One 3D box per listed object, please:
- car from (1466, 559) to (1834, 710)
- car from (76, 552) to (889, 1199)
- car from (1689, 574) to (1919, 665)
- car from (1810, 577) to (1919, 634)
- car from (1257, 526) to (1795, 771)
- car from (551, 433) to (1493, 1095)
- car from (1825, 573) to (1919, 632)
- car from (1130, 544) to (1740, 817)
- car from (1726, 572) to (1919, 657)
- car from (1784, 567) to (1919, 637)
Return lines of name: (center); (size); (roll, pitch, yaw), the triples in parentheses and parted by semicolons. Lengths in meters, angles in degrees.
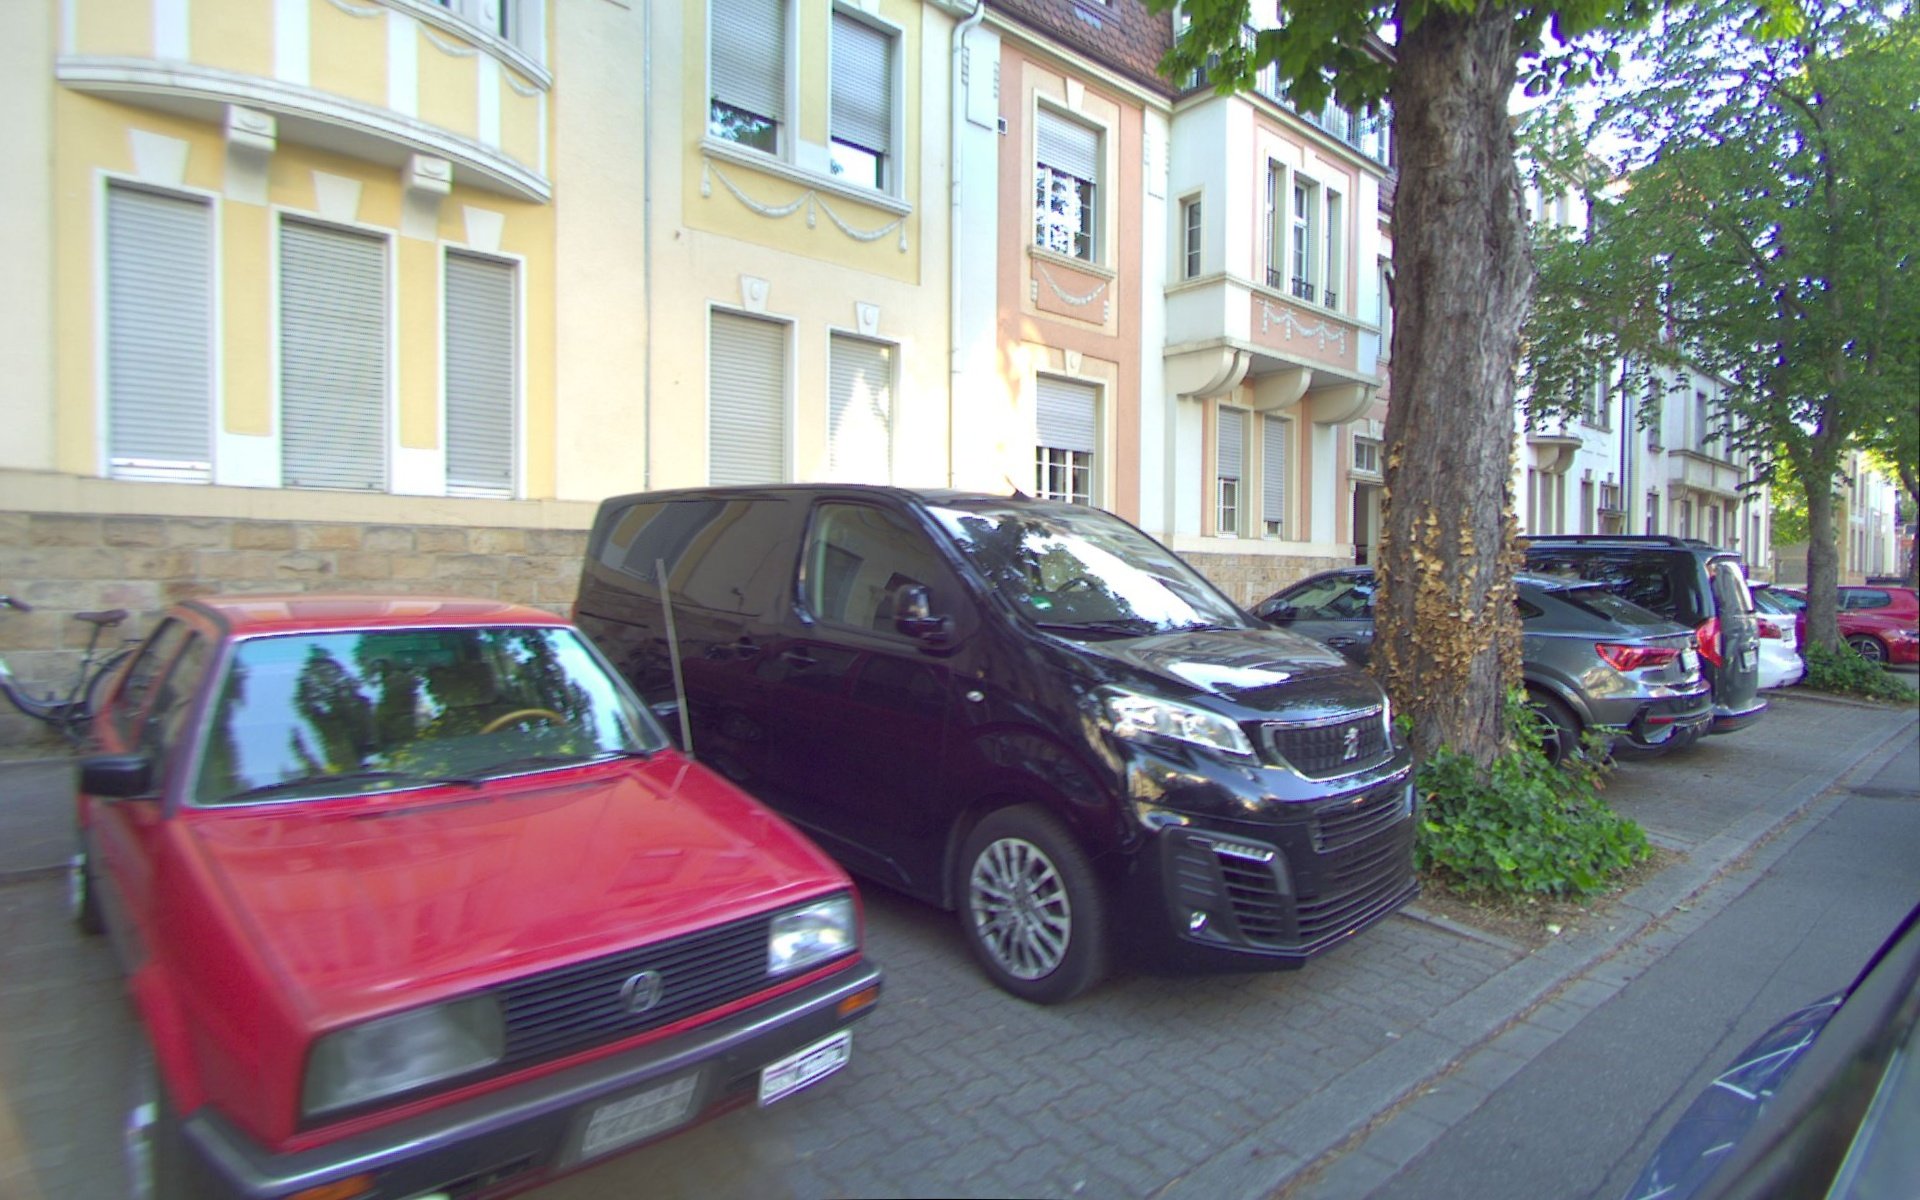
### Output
car: (8.639, 0.312, 12.883); (1.513, 1.569, 3.617); (-1, 4, -44)
car: (-2.069, 0.540, 3.601); (1.532, 1.336, 3.917); (-2, 4, -42)
car: (15.837, 0.293, 18.634); (1.511, 1.420, 3.622); (-1, 3, -40)
car: (24.951, 0.149, 26.706); (1.511, 1.420, 3.621); (-1, 3, -40)
car: (5.138, 0.237, 9.652); (1.569, 1.849, 4.165); (-2, 4, -44)
car: (-0.202, 0.314, 5.185); (1.851, 1.846, 4.826); (-2, 4, -44)
car: (26.875, 0.082, 28.485); (1.511, 1.583, 3.621); (-1, 3, -40)
car: (3.552, 0.389, 8.192); (1.569, 1.611, 4.165); (-2, 4, -44)
car: (17.744, 0.255, 20.214); (1.511, 1.482, 3.622); (-1, 3, -40)
car: (22.529, 0.037, 24.605); (1.511, 1.583, 3.621); (-1, 3, -40)
